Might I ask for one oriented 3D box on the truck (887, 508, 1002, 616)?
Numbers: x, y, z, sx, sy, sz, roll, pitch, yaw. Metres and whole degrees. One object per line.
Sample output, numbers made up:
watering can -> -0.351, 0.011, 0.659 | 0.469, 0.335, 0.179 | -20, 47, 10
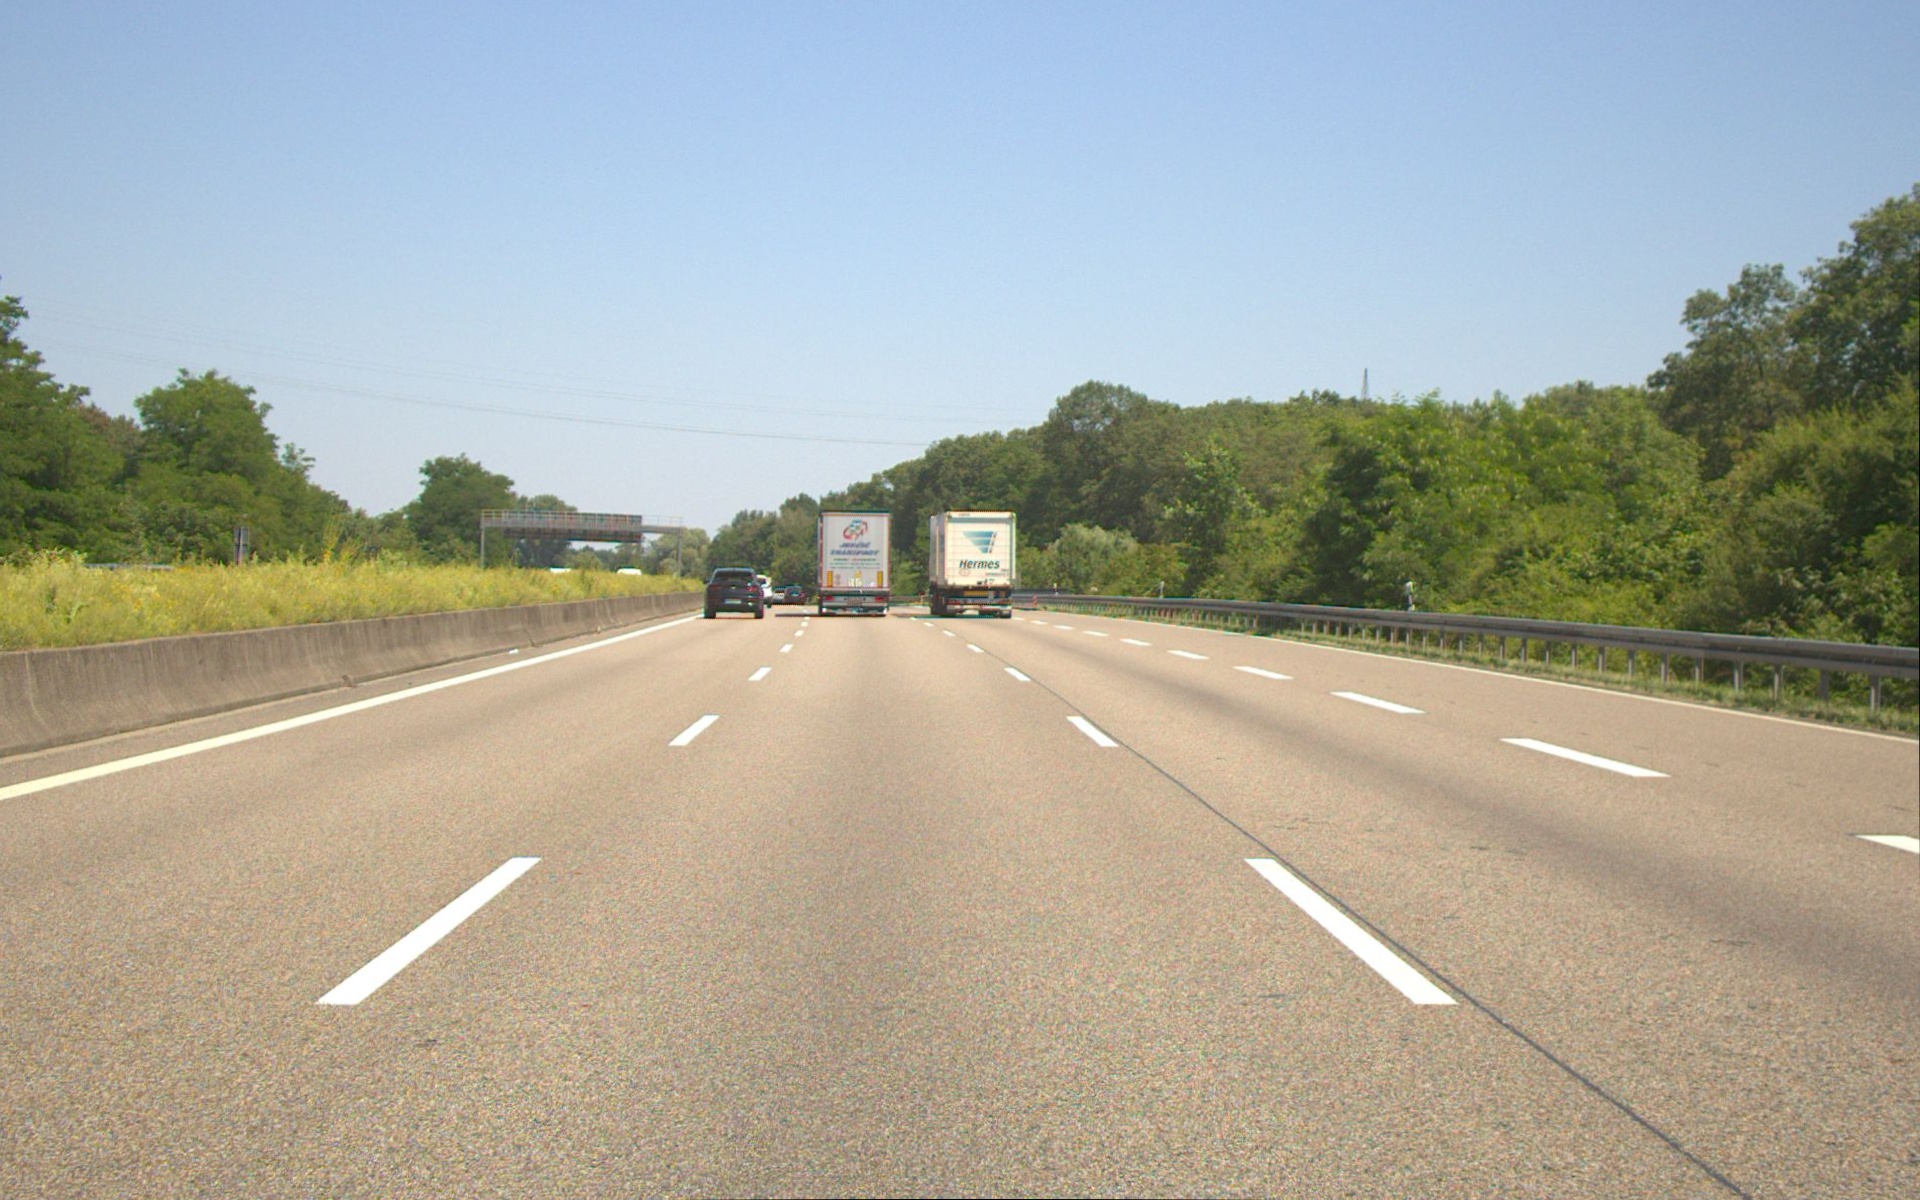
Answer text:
truck -> -0.712, -1.555, 136.140 | 3.325, 4.039, 10.956 | 1, 1, -6

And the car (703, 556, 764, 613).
car -> -7.827, -0.559, 118.481 | 1.993, 1.868, 4.001 | 1, 1, -5

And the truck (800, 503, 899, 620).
truck -> -4.169, -1.456, 128.318 | 3.229, 4.187, 8.467 | 1, 1, -5

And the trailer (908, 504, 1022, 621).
trailer -> 0.121, -1.433, 127.941 | 3.367, 4.128, 9.093 | 1, 1, -5
